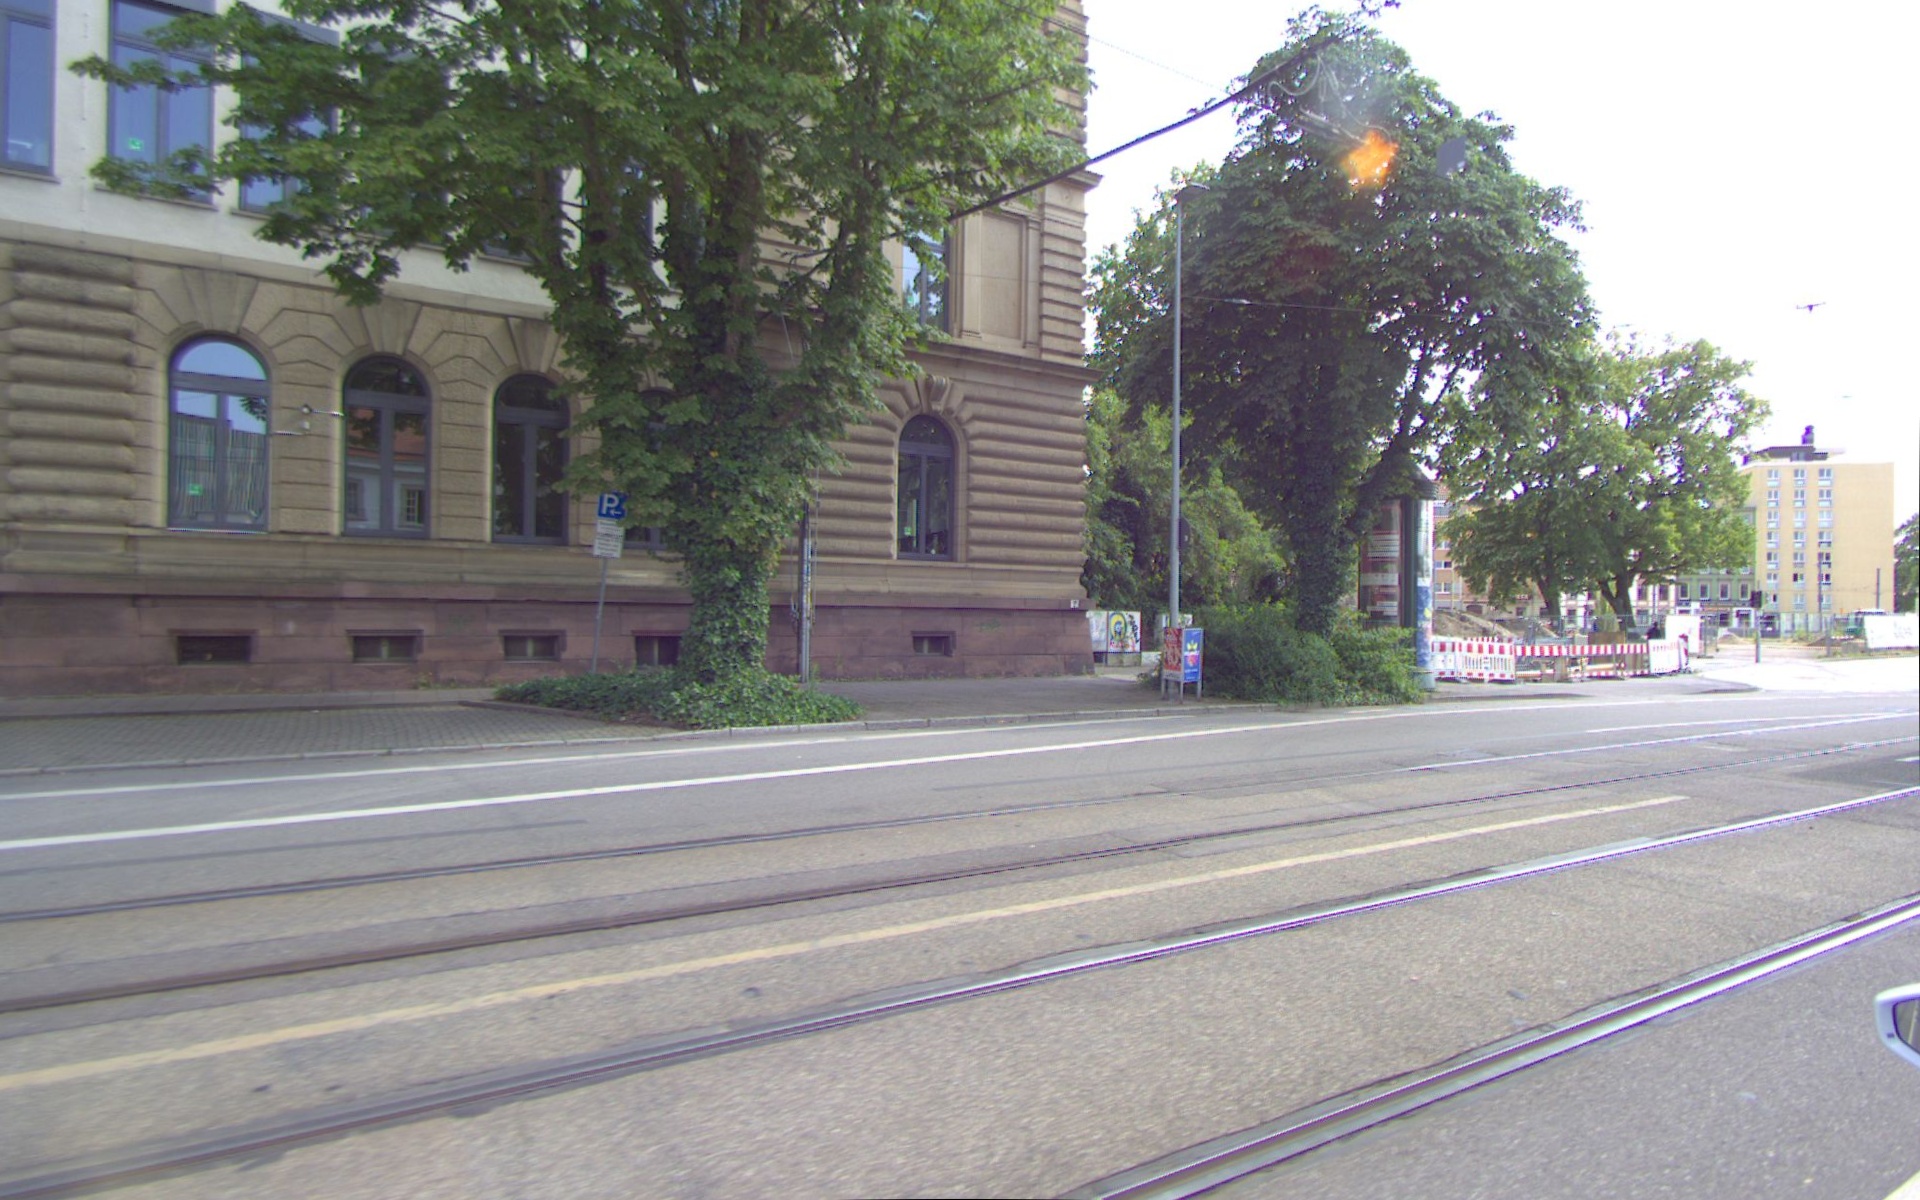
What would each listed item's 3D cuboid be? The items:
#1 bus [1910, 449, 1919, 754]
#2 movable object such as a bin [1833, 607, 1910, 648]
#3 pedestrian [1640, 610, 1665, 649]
[{"bbox_3d":[16.428,0.153,13.087,12.070,3.372,2.902,1,0,-32],"label":"bus"},{"bbox_3d":[60.308,1.802,66.455,3.951,2.608,2.631,1,-1,-29],"label":"movable object such as a bin"},{"bbox_3d":[29.594,1.247,42.931,0.774,1.674,0.580,0,0,23],"label":"pedestrian"}]
